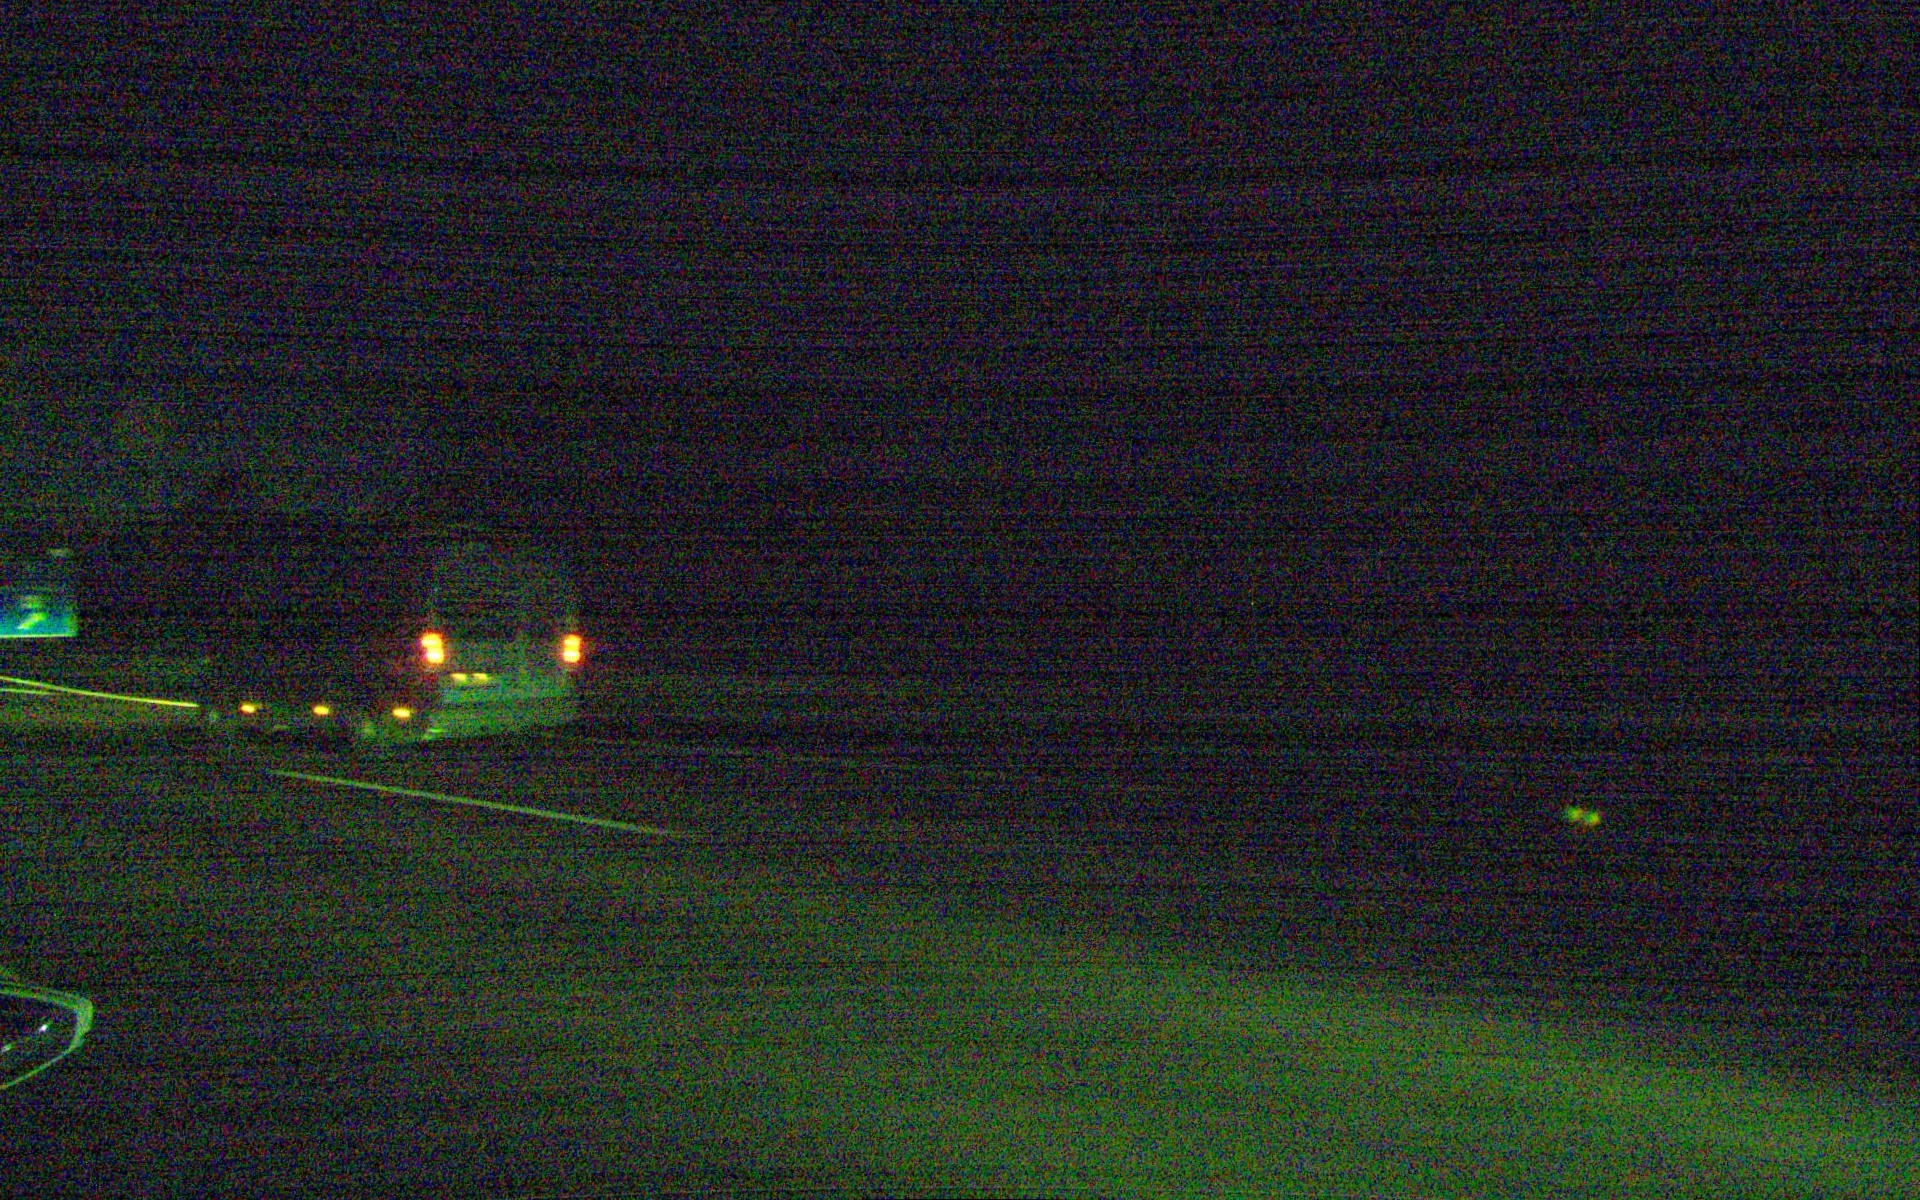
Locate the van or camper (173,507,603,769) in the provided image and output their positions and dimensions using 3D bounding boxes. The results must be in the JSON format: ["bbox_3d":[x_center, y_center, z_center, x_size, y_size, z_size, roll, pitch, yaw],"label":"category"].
[{"bbox_3d":[-7.898,0.479,13.497,6.708,2.807,2.203,-1,-2,33],"label":"van or camper"}]
